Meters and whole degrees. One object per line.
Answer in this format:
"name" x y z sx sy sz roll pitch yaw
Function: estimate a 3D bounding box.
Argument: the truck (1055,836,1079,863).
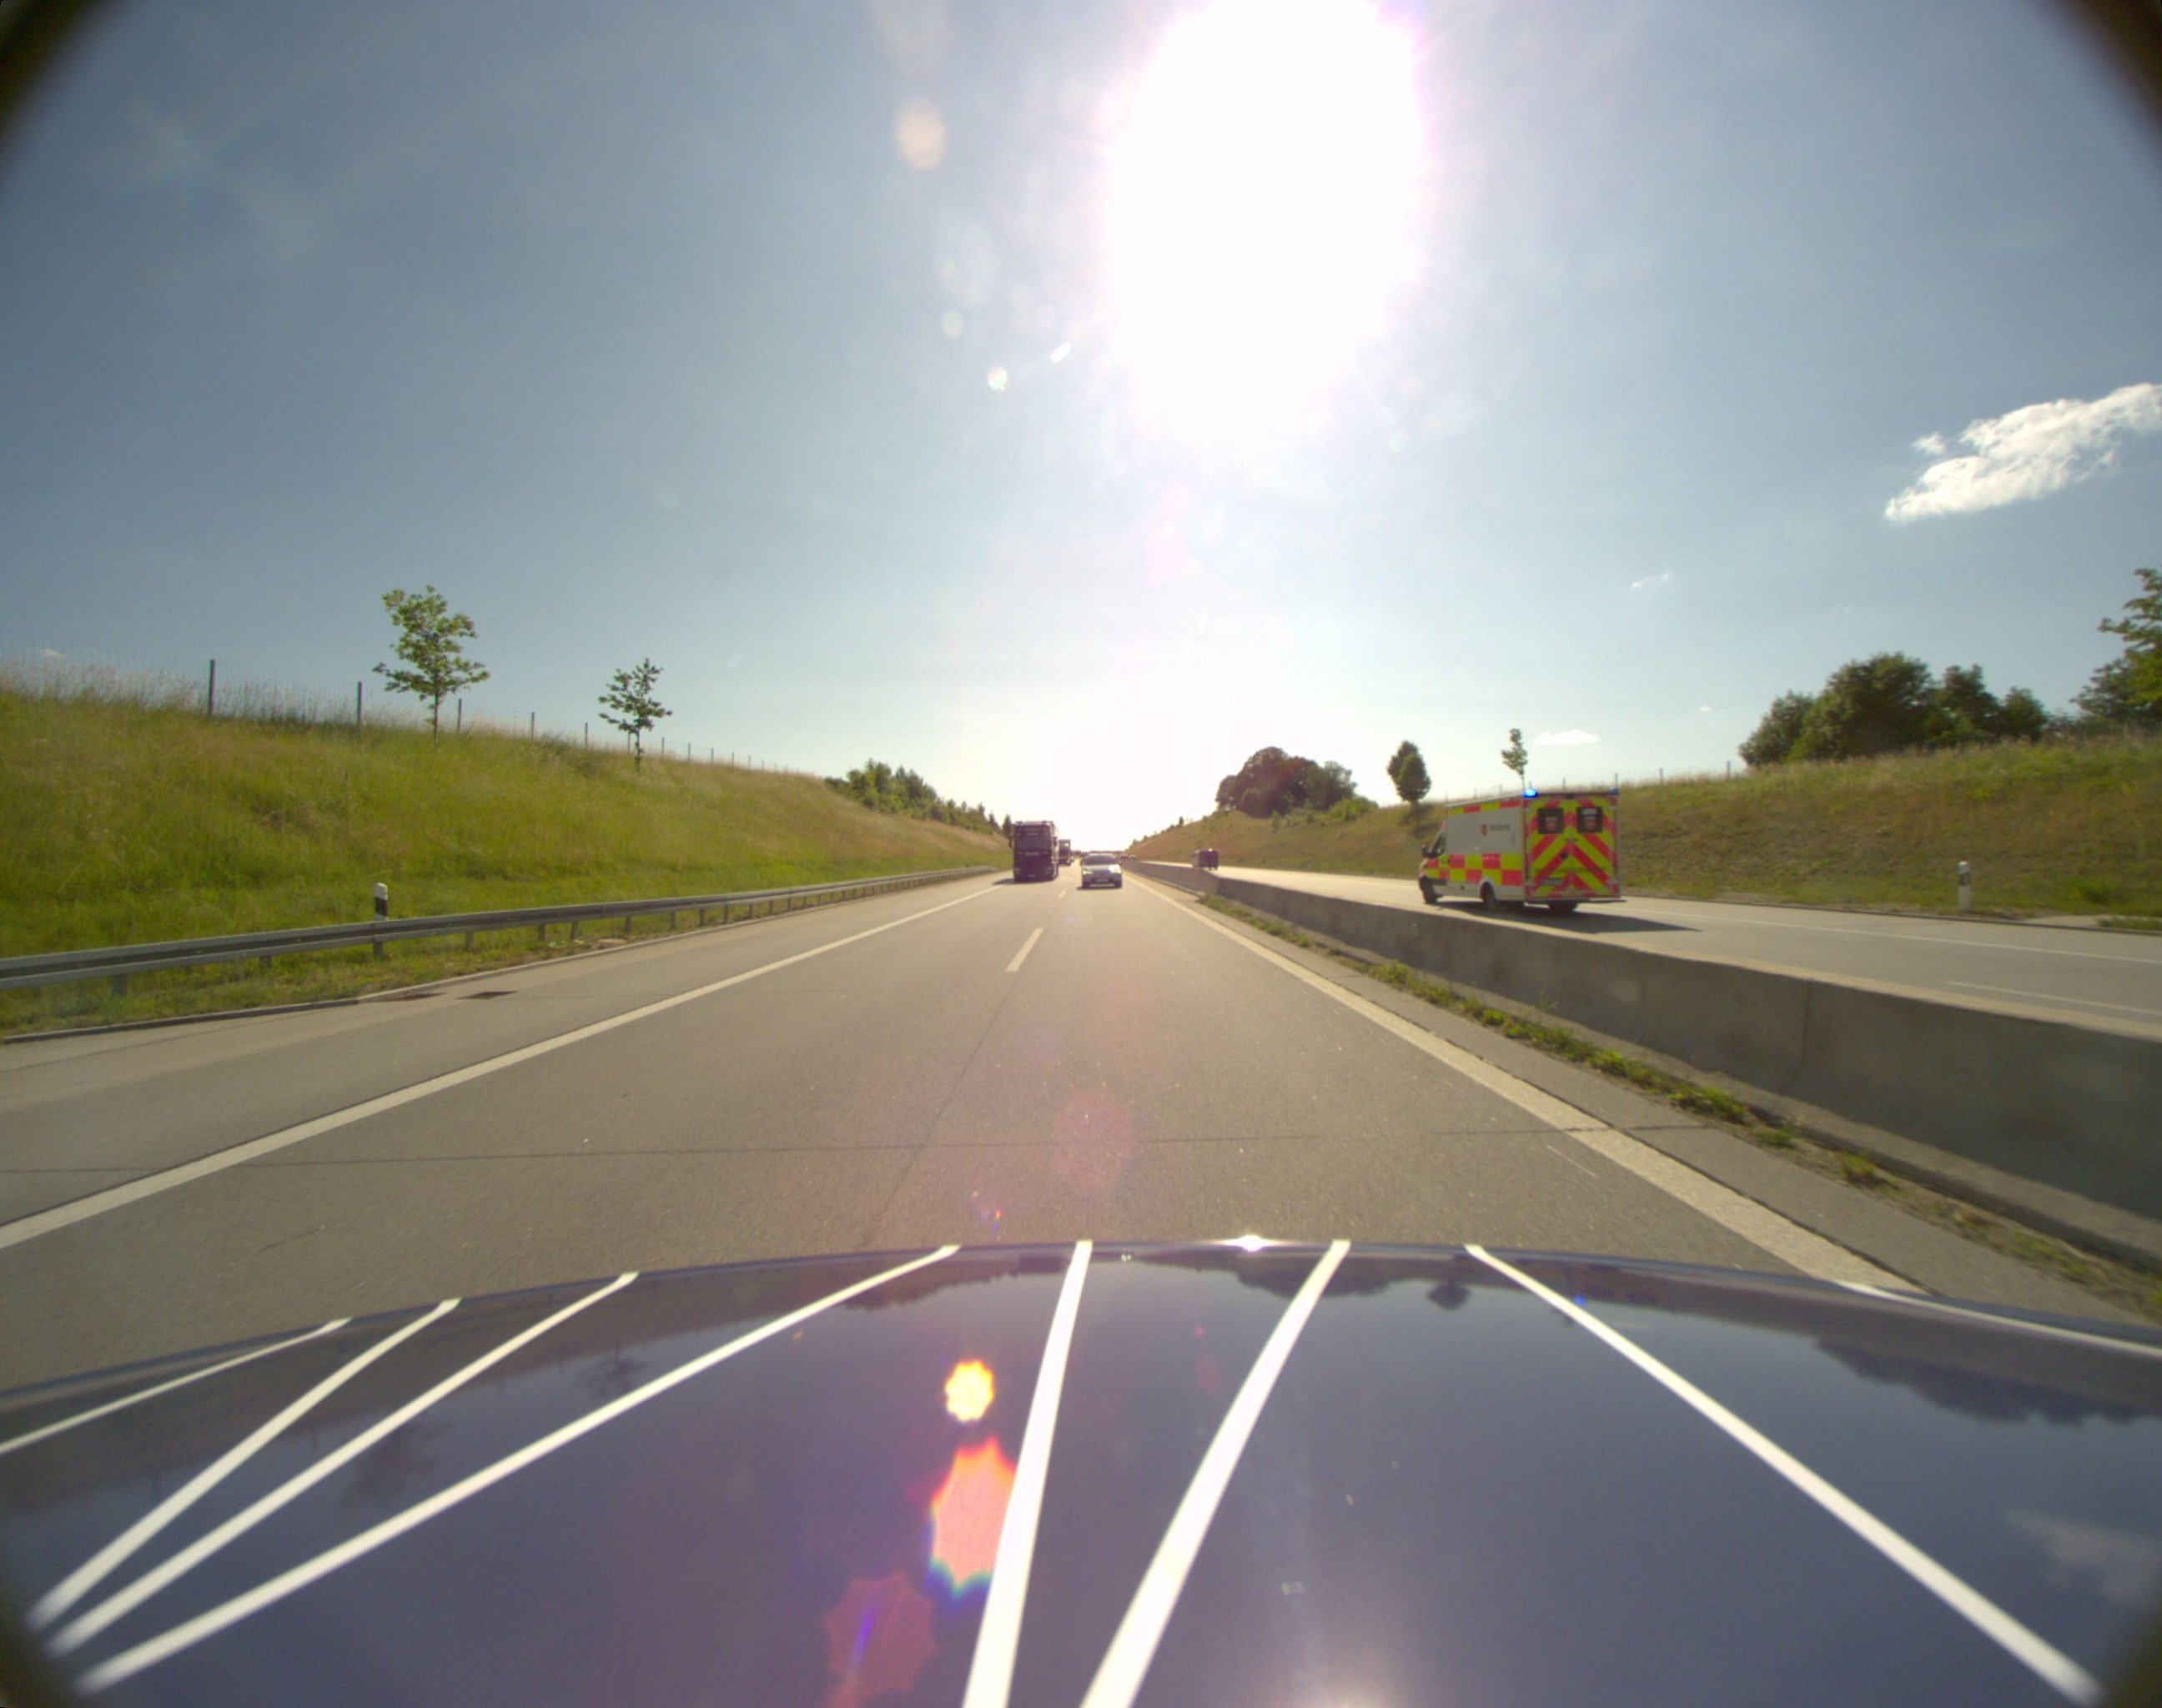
"truck" -2.035 -0.715 116.199 3.025 3.795 13.403 1 0 1

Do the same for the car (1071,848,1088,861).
"car" -0.292 0.079 131.907 2.816 2.143 5.946 1 0 0

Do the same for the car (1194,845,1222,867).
"car" 12.516 0.200 75.221 1.998 2.002 4.970 -2 0 1

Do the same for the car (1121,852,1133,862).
"car" 8.419 0.512 140.253 1.936 1.722 4.886 -2 0 1

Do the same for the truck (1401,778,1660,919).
"truck" 11.196 -0.118 19.910 2.781 3.004 6.792 -1 0 1

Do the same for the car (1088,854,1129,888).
"car" 1.340 0.760 35.595 1.794 1.501 3.636 0 0 4

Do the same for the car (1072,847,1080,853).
"car" -1.150 -0.872 171.710 1.708 1.433 3.633 1 0 -4

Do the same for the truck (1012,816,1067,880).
"truck" -2.651 -0.376 52.802 2.623 3.795 13.404 -1 0 2

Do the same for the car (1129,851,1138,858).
"car" 12.003 0.147 172.755 1.808 1.462 4.527 -1 0 1
